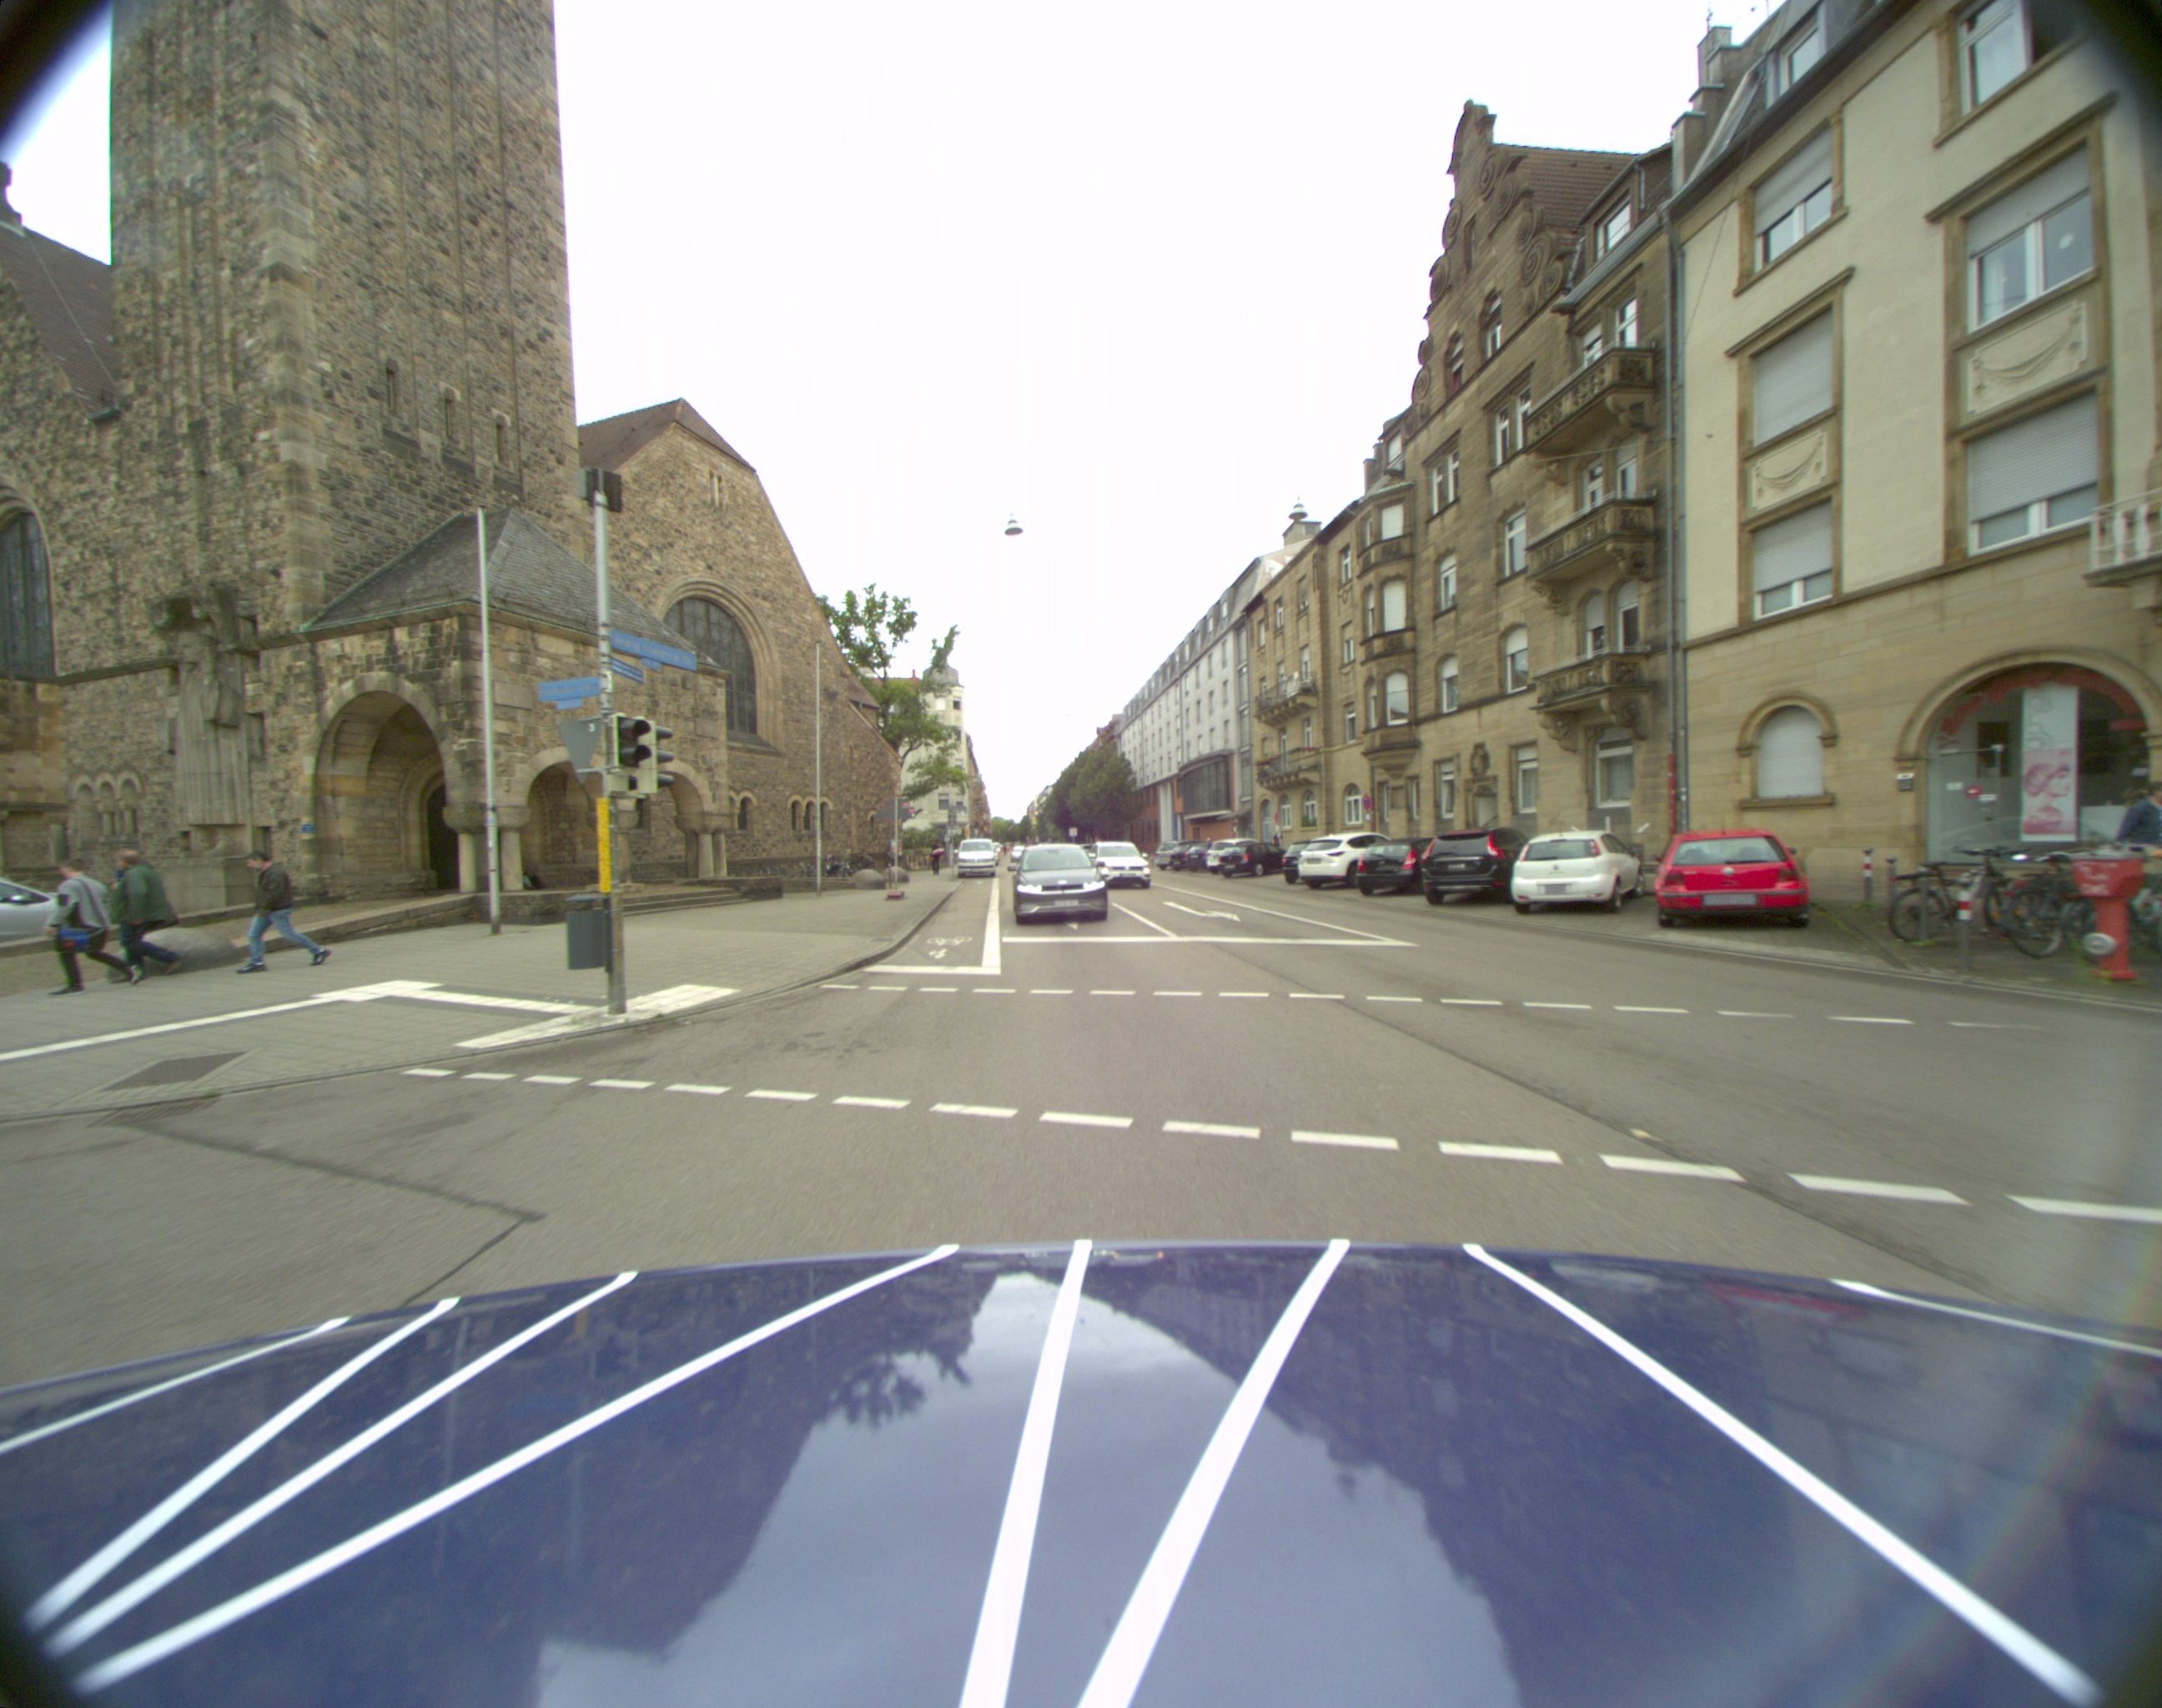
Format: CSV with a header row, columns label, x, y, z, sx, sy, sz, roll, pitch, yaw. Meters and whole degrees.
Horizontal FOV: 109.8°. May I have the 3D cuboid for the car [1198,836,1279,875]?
label,x,y,z,sx,sy,sz,roll,pitch,yaw
car,7.529,0.060,36.110,4.006,1.545,1.699,-6,2,-43

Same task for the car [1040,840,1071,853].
label,x,y,z,sx,sy,sz,roll,pitch,yaw
car,-3.798,-1.107,111.649,4.005,1.898,1.995,-2,1,-28

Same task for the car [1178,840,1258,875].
label,x,y,z,sx,sy,sz,roll,pitch,yaw
car,6.997,0.177,38.729,3.754,1.437,1.819,-5,2,-35

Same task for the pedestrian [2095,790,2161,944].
label,x,y,z,sx,sy,sz,roll,pitch,yaw
pedestrian,13.833,0.153,9.862,0.621,1.947,0.550,-2,2,-4

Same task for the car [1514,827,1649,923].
label,x,y,z,sx,sy,sz,roll,pitch,yaw
car,9.975,0.336,15.004,1.560,1.464,4.006,-2,3,43

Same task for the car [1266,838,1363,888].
label,x,y,z,sx,sy,sz,roll,pitch,yaw
car,8.368,0.277,27.061,3.819,1.489,1.565,-5,3,-43

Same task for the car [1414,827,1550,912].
label,x,y,z,sx,sy,sz,roll,pitch,yaw
car,9.393,0.277,17.623,1.727,1.642,4.233,-1,2,43

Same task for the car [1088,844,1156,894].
label,x,y,z,sx,sy,sz,roll,pitch,yaw
car,1.405,0.470,27.533,1.911,1.597,4.248,-2,1,-4

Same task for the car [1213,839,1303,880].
label,x,y,z,sx,sy,sz,roll,pitch,yaw
car,7.641,0.196,32.535,4.006,1.410,1.657,-5,3,-41

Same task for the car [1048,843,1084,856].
label,x,y,z,sx,sy,sz,roll,pitch,yaw
car,-1.859,-0.536,92.103,4.005,1.488,1.734,-2,1,-28

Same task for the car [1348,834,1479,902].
label,x,y,z,sx,sy,sz,roll,pitch,yaw
car,9.206,0.345,20.889,4.006,1.486,1.727,-6,2,-42

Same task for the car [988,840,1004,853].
label,x,y,z,sx,sy,sz,roll,pitch,yaw
car,-10.350,-0.927,92.337,1.821,1.556,3.997,-2,1,-5

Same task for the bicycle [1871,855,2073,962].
label,x,y,z,sx,sy,sz,roll,pitch,yaw
bicycle,10.577,0.634,9.039,1.891,1.030,0.442,-6,2,-2

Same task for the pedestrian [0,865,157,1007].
label,x,y,z,sx,sy,sz,roll,pitch,yaw
pedestrian,-12.481,0.981,9.502,0.634,1.663,0.969,0,1,1

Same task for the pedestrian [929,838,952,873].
label,x,y,z,sx,sy,sz,roll,pitch,yaw
pedestrian,-7.663,0.071,41.497,0.814,1.799,1.020,-1,4,16

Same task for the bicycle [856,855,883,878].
label,x,y,z,sx,sy,sz,roll,pitch,yaw
bicycle,-10.723,0.624,38.516,1.341,1.140,0.311,-1,2,17

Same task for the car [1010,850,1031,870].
label,x,y,z,sx,sy,sz,roll,pitch,yaw
car,-5.963,0.610,74.908,1.833,1.762,3.996,-2,2,-6

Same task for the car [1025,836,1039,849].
label,x,y,z,sx,sy,sz,roll,pitch,yaw
car,-7.186,-1.703,110.443,1.699,1.793,4.126,-1,1,-7

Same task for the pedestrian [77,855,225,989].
label,x,y,z,sx,sy,sz,roll,pitch,yaw
pedestrian,-12.720,0.892,10.437,0.806,1.749,0.968,0,1,-5

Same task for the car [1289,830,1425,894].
label,x,y,z,sx,sy,sz,roll,pitch,yaw
car,8.770,0.208,24.047,4.005,1.714,1.836,-4,2,-30

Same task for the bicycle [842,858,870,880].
label,x,y,z,sx,sy,sz,roll,pitch,yaw
bicycle,-11.186,0.751,37.768,1.341,1.054,0.311,-1,2,17

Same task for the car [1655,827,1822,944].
label,x,y,z,sx,sy,sz,roll,pitch,yaw
car,10.319,0.394,12.188,1.679,1.464,4.007,-3,1,37

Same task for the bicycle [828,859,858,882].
label,x,y,z,sx,sy,sz,roll,pitch,yaw
bicycle,-11.410,0.783,36.419,1.381,1.054,0.311,-1,2,17

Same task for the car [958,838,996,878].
label,x,y,z,sx,sy,sz,roll,pitch,yaw
car,-5.402,0.140,39.964,1.810,1.909,5.160,-2,1,-6

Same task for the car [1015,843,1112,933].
label,x,y,z,sx,sy,sz,roll,pitch,yaw
car,-0.506,0.621,16.553,1.821,1.675,3.997,-2,1,-5

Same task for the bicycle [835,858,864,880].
label,x,y,z,sx,sy,sz,roll,pitch,yaw
bicycle,-11.314,0.722,37.116,1.381,1.054,0.311,-1,2,17

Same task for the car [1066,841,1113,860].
label,x,y,z,sx,sy,sz,roll,pitch,yaw
car,0.817,-0.347,71.050,4.005,1.620,1.768,-2,1,-28

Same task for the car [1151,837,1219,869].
label,x,y,z,sx,sy,sz,roll,pitch,yaw
car,6.109,-0.100,44.457,4.006,1.545,1.728,-6,2,-44

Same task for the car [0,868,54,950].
label,x,y,z,sx,sy,sz,roll,pitch,yaw
car,-24.988,1.285,16.079,1.683,1.783,3.471,-1,2,21

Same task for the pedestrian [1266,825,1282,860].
label,x,y,z,sx,sy,sz,roll,pitch,yaw
pedestrian,10.151,-0.601,39.995,0.622,1.813,0.641,-2,2,-5

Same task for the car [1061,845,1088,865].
label,x,y,z,sx,sy,sz,roll,pitch,yaw
car,-0.513,0.057,58.459,1.654,1.439,3.508,-2,1,-6

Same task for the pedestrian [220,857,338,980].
label,x,y,z,sx,sy,sz,roll,pitch,yaw
pedestrian,-11.483,0.887,10.919,0.676,1.676,0.968,0,1,-5

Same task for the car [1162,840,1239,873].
label,x,y,z,sx,sy,sz,roll,pitch,yaw
car,6.548,0.126,41.444,4.006,1.430,1.729,-5,2,-37

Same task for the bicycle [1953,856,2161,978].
label,x,y,z,sx,sy,sz,roll,pitch,yaw
bicycle,10.560,0.652,8.219,1.892,1.030,0.442,-7,2,-7

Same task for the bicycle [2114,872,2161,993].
label,x,y,z,sx,sy,sz,roll,pitch,yaw
bicycle,10.699,0.634,7.029,1.892,1.030,0.442,-7,2,-7

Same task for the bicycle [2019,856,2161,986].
label,x,y,z,sx,sy,sz,roll,pitch,yaw
bicycle,10.622,0.644,7.686,1.892,1.030,0.442,-7,2,-7

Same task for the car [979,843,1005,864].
label,x,y,z,sx,sy,sz,roll,pitch,yaw
car,-6.998,-0.041,60.044,1.821,1.556,3.997,-2,1,-5

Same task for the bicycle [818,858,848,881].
label,x,y,z,sx,sy,sz,roll,pitch,yaw
bicycle,-11.673,0.716,35.816,1.381,1.054,0.311,-1,2,17

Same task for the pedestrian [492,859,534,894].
label,x,y,z,sx,sy,sz,roll,pitch,yaw
pedestrian,-15.999,0.634,21.407,0.672,0.946,0.616,-1,1,17

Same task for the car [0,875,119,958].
label,x,y,z,sx,sy,sz,roll,pitch,yaw
car,-21.865,1.277,14.805,1.614,1.521,3.471,-1,2,21
